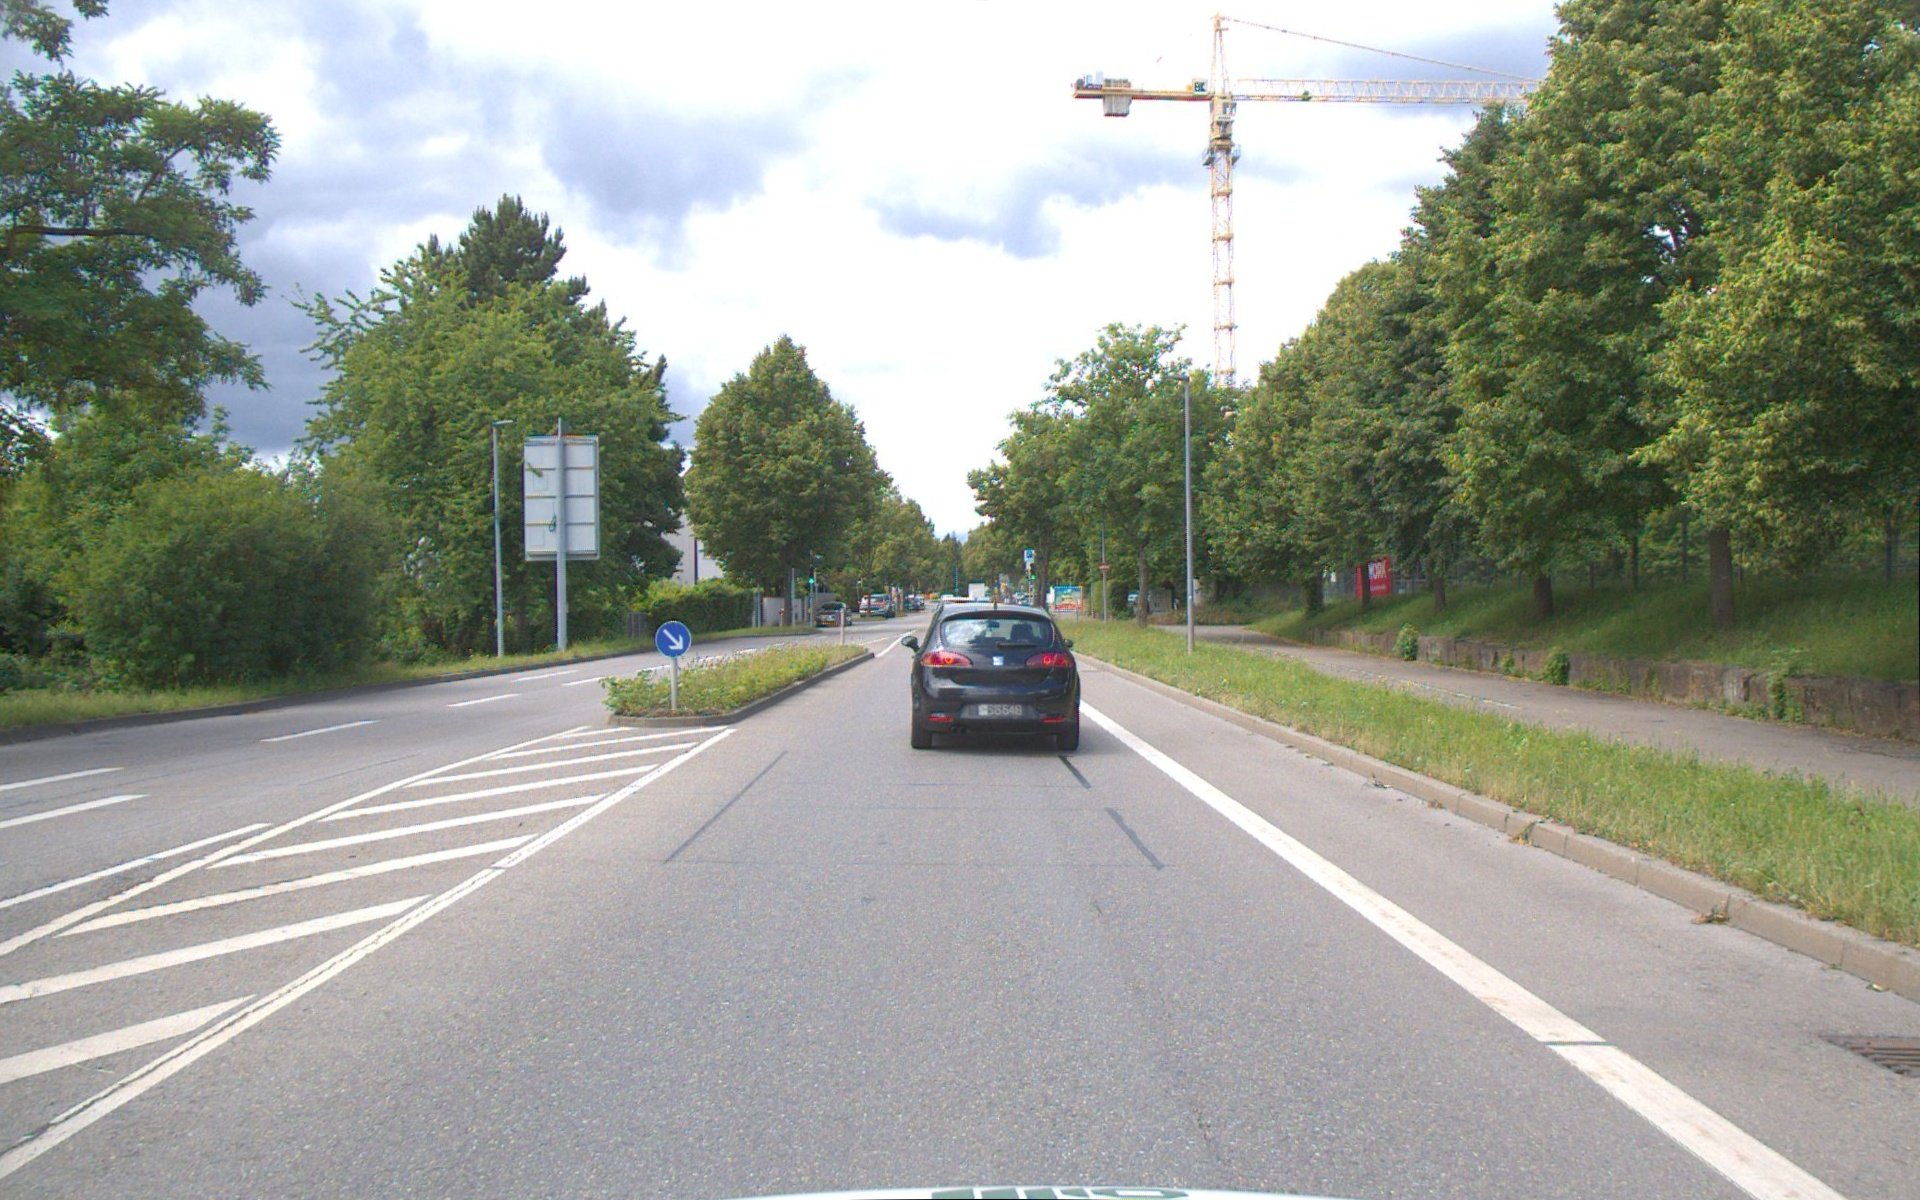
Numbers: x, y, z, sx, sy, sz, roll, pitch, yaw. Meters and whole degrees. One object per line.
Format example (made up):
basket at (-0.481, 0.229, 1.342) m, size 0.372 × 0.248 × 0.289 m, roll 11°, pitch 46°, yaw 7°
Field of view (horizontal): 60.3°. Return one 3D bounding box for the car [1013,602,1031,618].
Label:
car at (6.359, 1.041, 169.803) m, size 1.653 × 1.591 × 4.214 m, roll -1°, pitch 0°, yaw 1°

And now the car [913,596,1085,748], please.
car at (0.364, 0.708, 17.736) m, size 1.629 × 1.426 × 3.811 m, roll 1°, pitch 0°, yaw 0°

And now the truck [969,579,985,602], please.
truck at (2.401, -1.299, 236.131) m, size 2.232 × 3.158 × 8.510 m, roll 1°, pitch -1°, yaw 0°

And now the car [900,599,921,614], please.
car at (-5.500, 0.728, 184.307) m, size 2.057 × 1.532 × 5.784 m, roll -2°, pitch 0°, yaw 1°

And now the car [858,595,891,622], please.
car at (-6.555, 0.670, 126.976) m, size 2.057 × 1.929 × 5.784 m, roll -2°, pitch 0°, yaw 1°

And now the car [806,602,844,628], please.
car at (-7.957, 0.851, 97.758) m, size 1.683 × 1.419 × 4.801 m, roll -2°, pitch 0°, yaw 1°

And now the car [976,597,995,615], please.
car at (2.452, 0.548, 160.249) m, size 1.842 × 1.718 × 4.214 m, roll -1°, pitch 0°, yaw 1°

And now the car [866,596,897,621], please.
car at (-6.332, 0.684, 134.529) m, size 2.057 × 1.929 × 5.784 m, roll -2°, pitch 0°, yaw 1°

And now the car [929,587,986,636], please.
car at (-0.048, 0.390, 55.926) m, size 1.808 × 1.536 × 3.812 m, roll 1°, pitch 0°, yaw 2°

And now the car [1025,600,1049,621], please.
car at (5.625, 0.749, 121.426) m, size 1.653 × 1.516 × 3.355 m, roll -1°, pitch 0°, yaw 1°

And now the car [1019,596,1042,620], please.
car at (5.390, 0.612, 126.544) m, size 1.653 × 1.741 × 4.214 m, roll -1°, pitch 0°, yaw 1°
